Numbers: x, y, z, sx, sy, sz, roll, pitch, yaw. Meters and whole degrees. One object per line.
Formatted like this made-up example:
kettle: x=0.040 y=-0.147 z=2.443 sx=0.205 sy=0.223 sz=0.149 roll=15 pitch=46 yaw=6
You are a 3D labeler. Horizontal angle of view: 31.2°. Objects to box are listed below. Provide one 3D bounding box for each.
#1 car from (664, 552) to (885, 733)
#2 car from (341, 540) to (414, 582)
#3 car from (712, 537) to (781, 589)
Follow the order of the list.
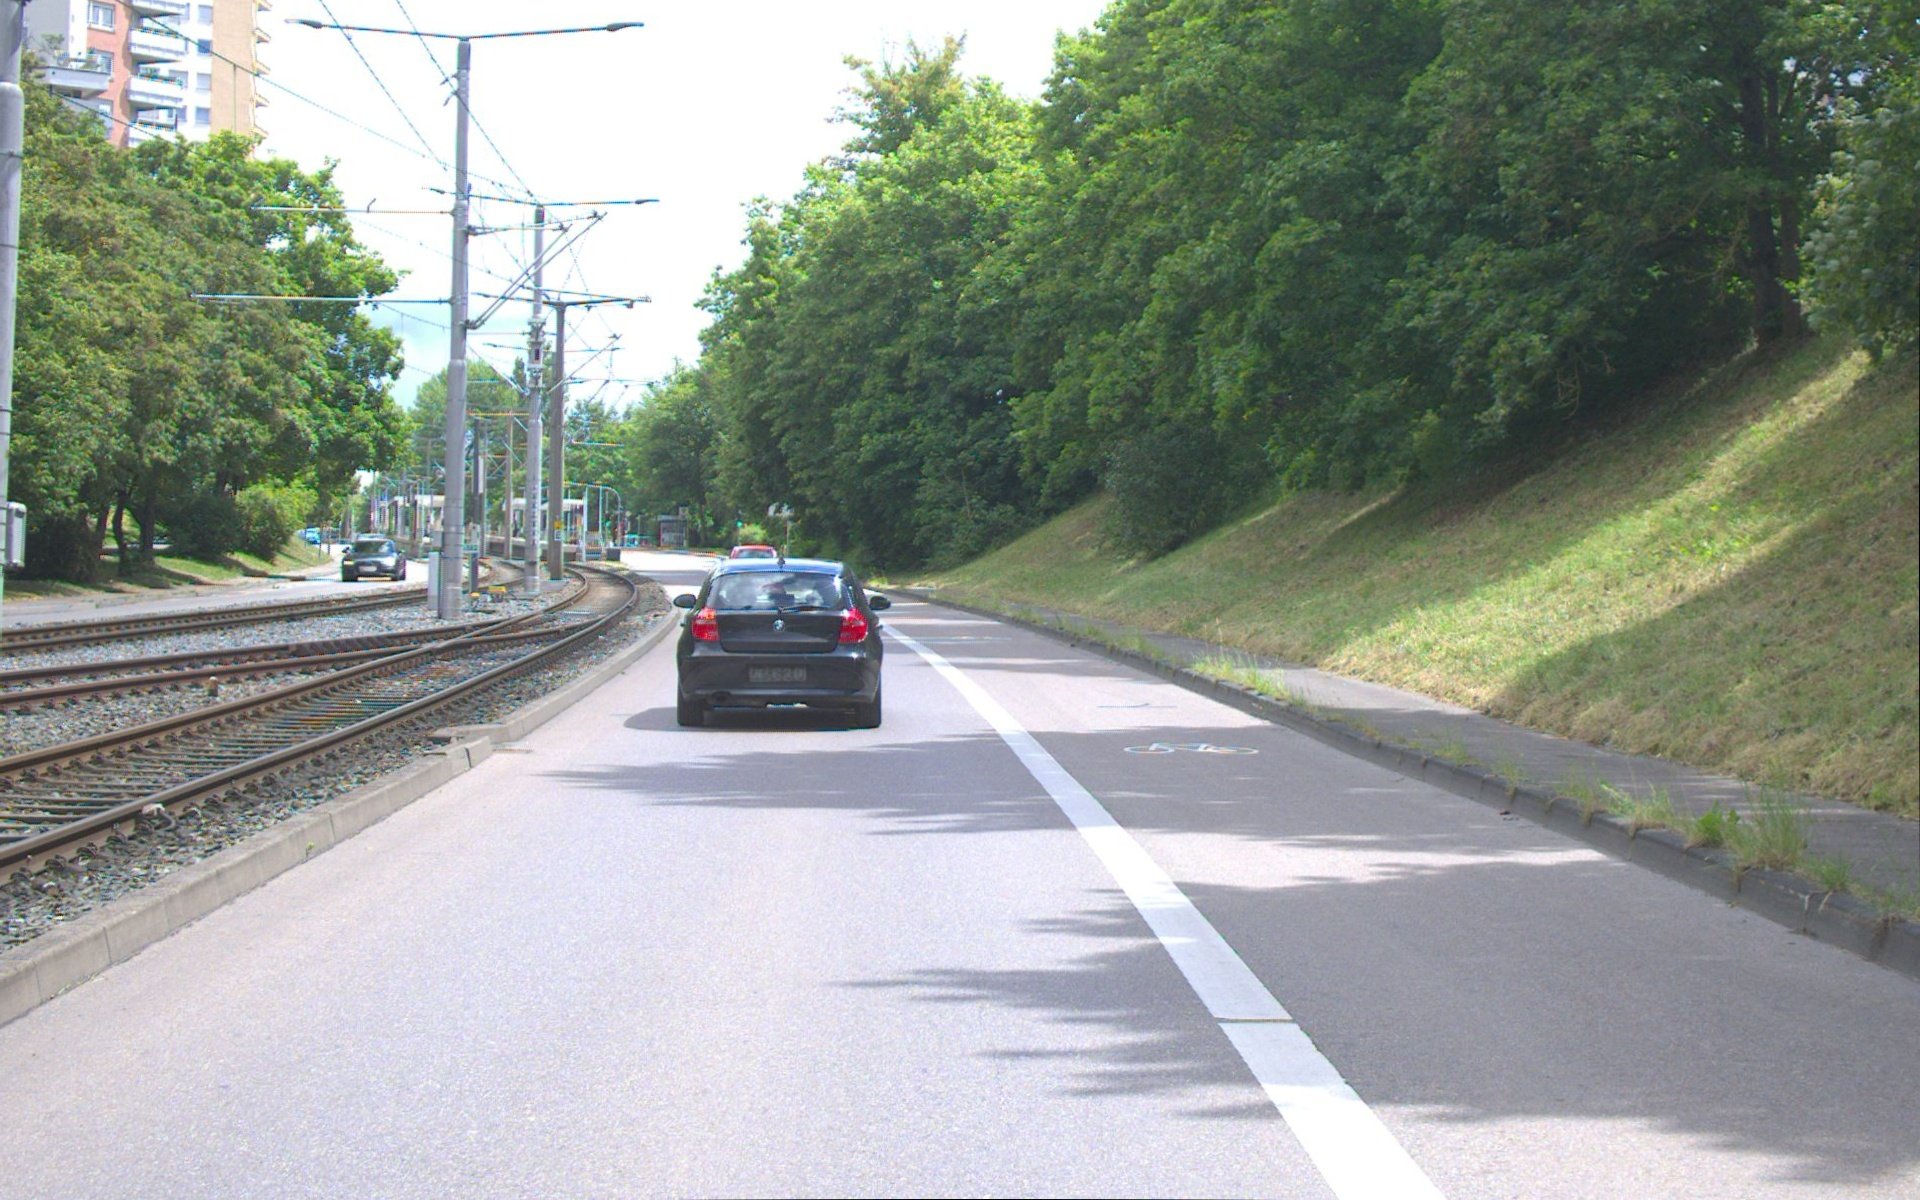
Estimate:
car: x=-1.652 y=0.314 z=29.785 sx=1.781 sy=1.454 sz=3.922 roll=0 pitch=1 yaw=-4
car: x=-19.817 y=-1.338 z=117.201 sx=1.835 sy=1.386 sz=4.862 roll=-1 pitch=1 yaw=-2
car: x=-6.105 y=-1.059 z=98.037 sx=1.781 sy=1.454 sz=3.922 roll=1 pitch=1 yaw=-6
